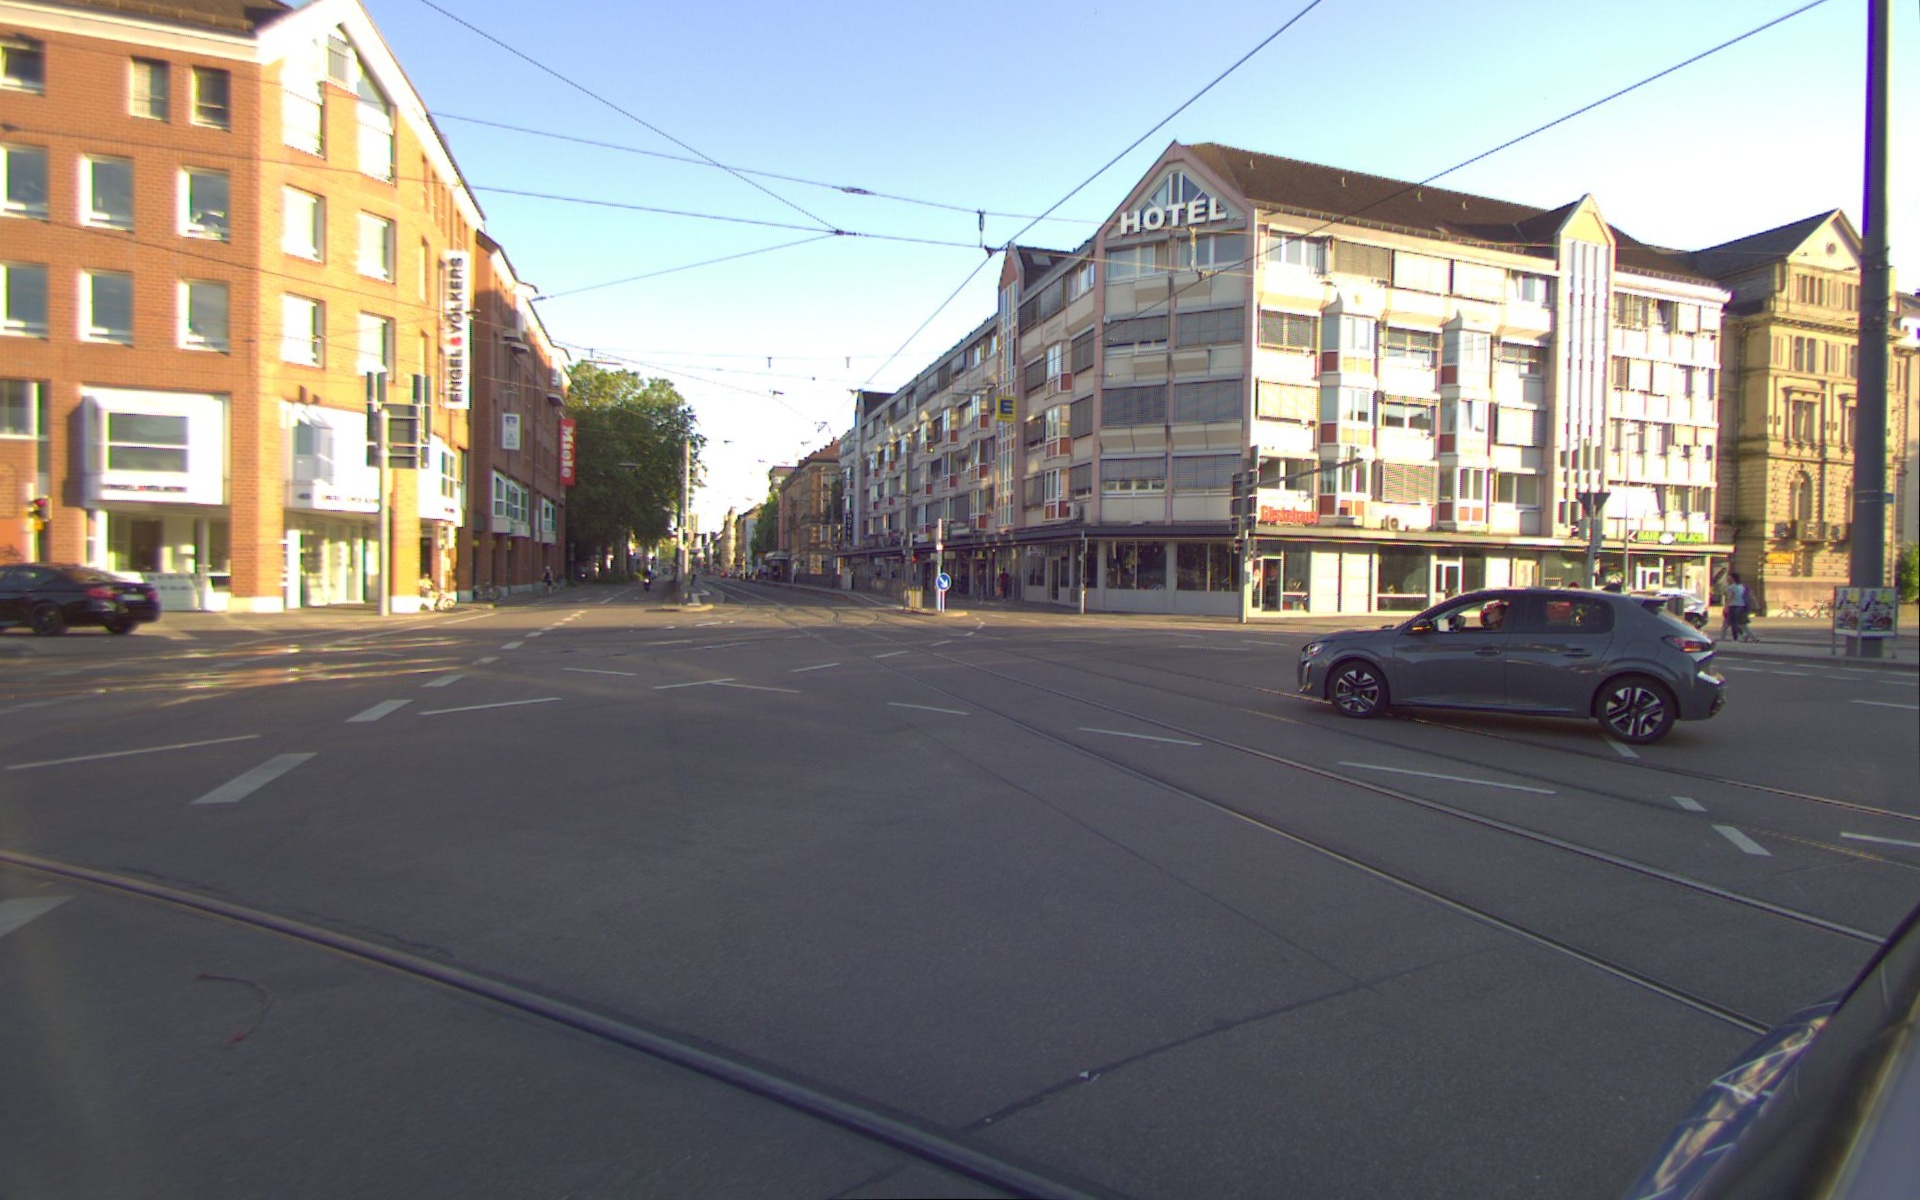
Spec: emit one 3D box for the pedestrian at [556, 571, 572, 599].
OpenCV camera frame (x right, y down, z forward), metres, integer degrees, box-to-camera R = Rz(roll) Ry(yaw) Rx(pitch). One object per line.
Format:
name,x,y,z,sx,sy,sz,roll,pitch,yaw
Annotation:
pedestrian,-29.782,-1.151,76.120,1.065,2.038,1.087,0,2,-21

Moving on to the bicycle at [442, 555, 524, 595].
bicycle,-21.576,-1.117,45.837,3.238,1.747,1.072,0,2,-17

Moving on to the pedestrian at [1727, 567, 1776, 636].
pedestrian,19.119,0.021,24.460,0.697,1.602,0.820,1,2,22

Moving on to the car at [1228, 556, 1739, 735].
car,5.542,0.315,11.072,4.679,1.522,1.891,3,3,39

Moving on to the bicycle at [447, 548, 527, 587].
bicycle,-21.902,-1.497,46.951,3.238,1.747,1.072,0,2,-18

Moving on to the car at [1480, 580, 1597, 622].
car,20.999,0.012,36.741,3.815,1.439,1.653,0,2,-22

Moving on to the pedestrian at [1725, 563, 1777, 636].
pedestrian,18.575,-0.030,23.787,0.718,1.669,0.766,1,2,21

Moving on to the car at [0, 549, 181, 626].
car,-18.877,-0.272,20.807,4.208,1.513,1.849,0,2,-3

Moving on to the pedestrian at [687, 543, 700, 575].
pedestrian,-17.328,-2.655,65.823,0.794,2.038,0.679,0,2,-20

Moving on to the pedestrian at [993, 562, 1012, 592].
pedestrian,2.321,-1.252,55.342,0.693,1.567,0.909,2,4,-19

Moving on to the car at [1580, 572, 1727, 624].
car,23.016,-0.102,33.587,4.519,1.574,2.226,0,2,-29
